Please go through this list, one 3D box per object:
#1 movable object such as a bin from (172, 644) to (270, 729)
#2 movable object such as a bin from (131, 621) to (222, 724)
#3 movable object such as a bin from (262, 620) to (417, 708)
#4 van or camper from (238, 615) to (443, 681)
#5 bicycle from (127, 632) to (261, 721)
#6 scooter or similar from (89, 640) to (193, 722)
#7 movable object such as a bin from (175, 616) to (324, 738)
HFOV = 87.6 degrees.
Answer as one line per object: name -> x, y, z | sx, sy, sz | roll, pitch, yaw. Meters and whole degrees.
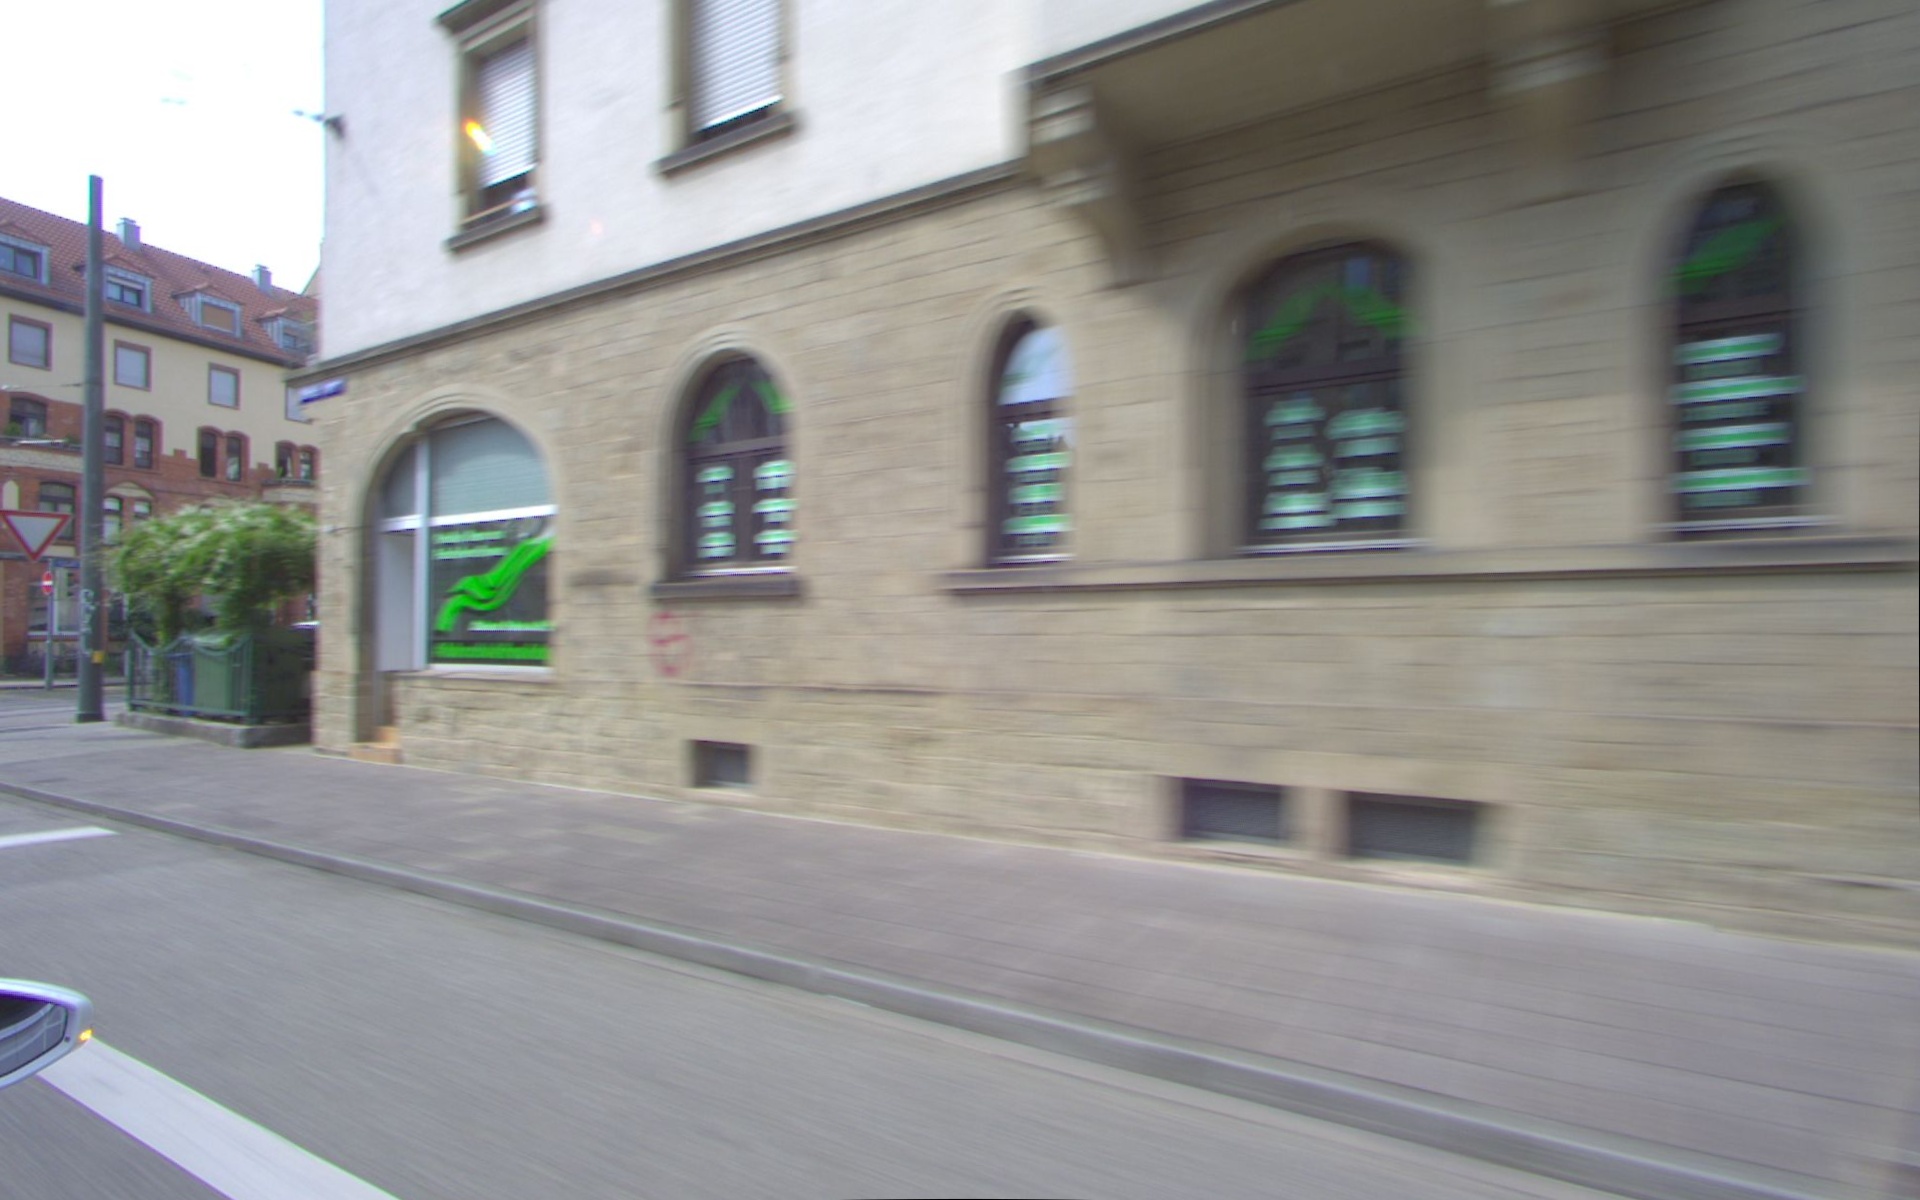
movable object such as a bin -> -10.934, 1.250, 14.831 | 0.650, 1.190, 1.025 | -1, -1, 34
movable object such as a bin -> -11.820, 1.070, 15.109 | 0.966, 1.491, 0.715 | -1, -1, 24
movable object such as a bin -> -10.791, 1.073, 17.509 | 1.036, 1.431, 2.093 | -1, -1, 25
van or camper -> -23.411, 1.796, 38.254 | 2.211, 2.282, 6.527 | -1, -2, 25
bicycle -> -12.279, 1.196, 16.114 | 0.272, 1.346, 1.829 | -1, -1, 22
scooter or similar -> -12.891, 1.251, 15.788 | 0.456, 1.232, 1.194 | -1, -1, 25
movable object such as a bin -> -9.830, 1.016, 13.835 | 2.071, 1.559, 1.047 | -1, -1, 35
